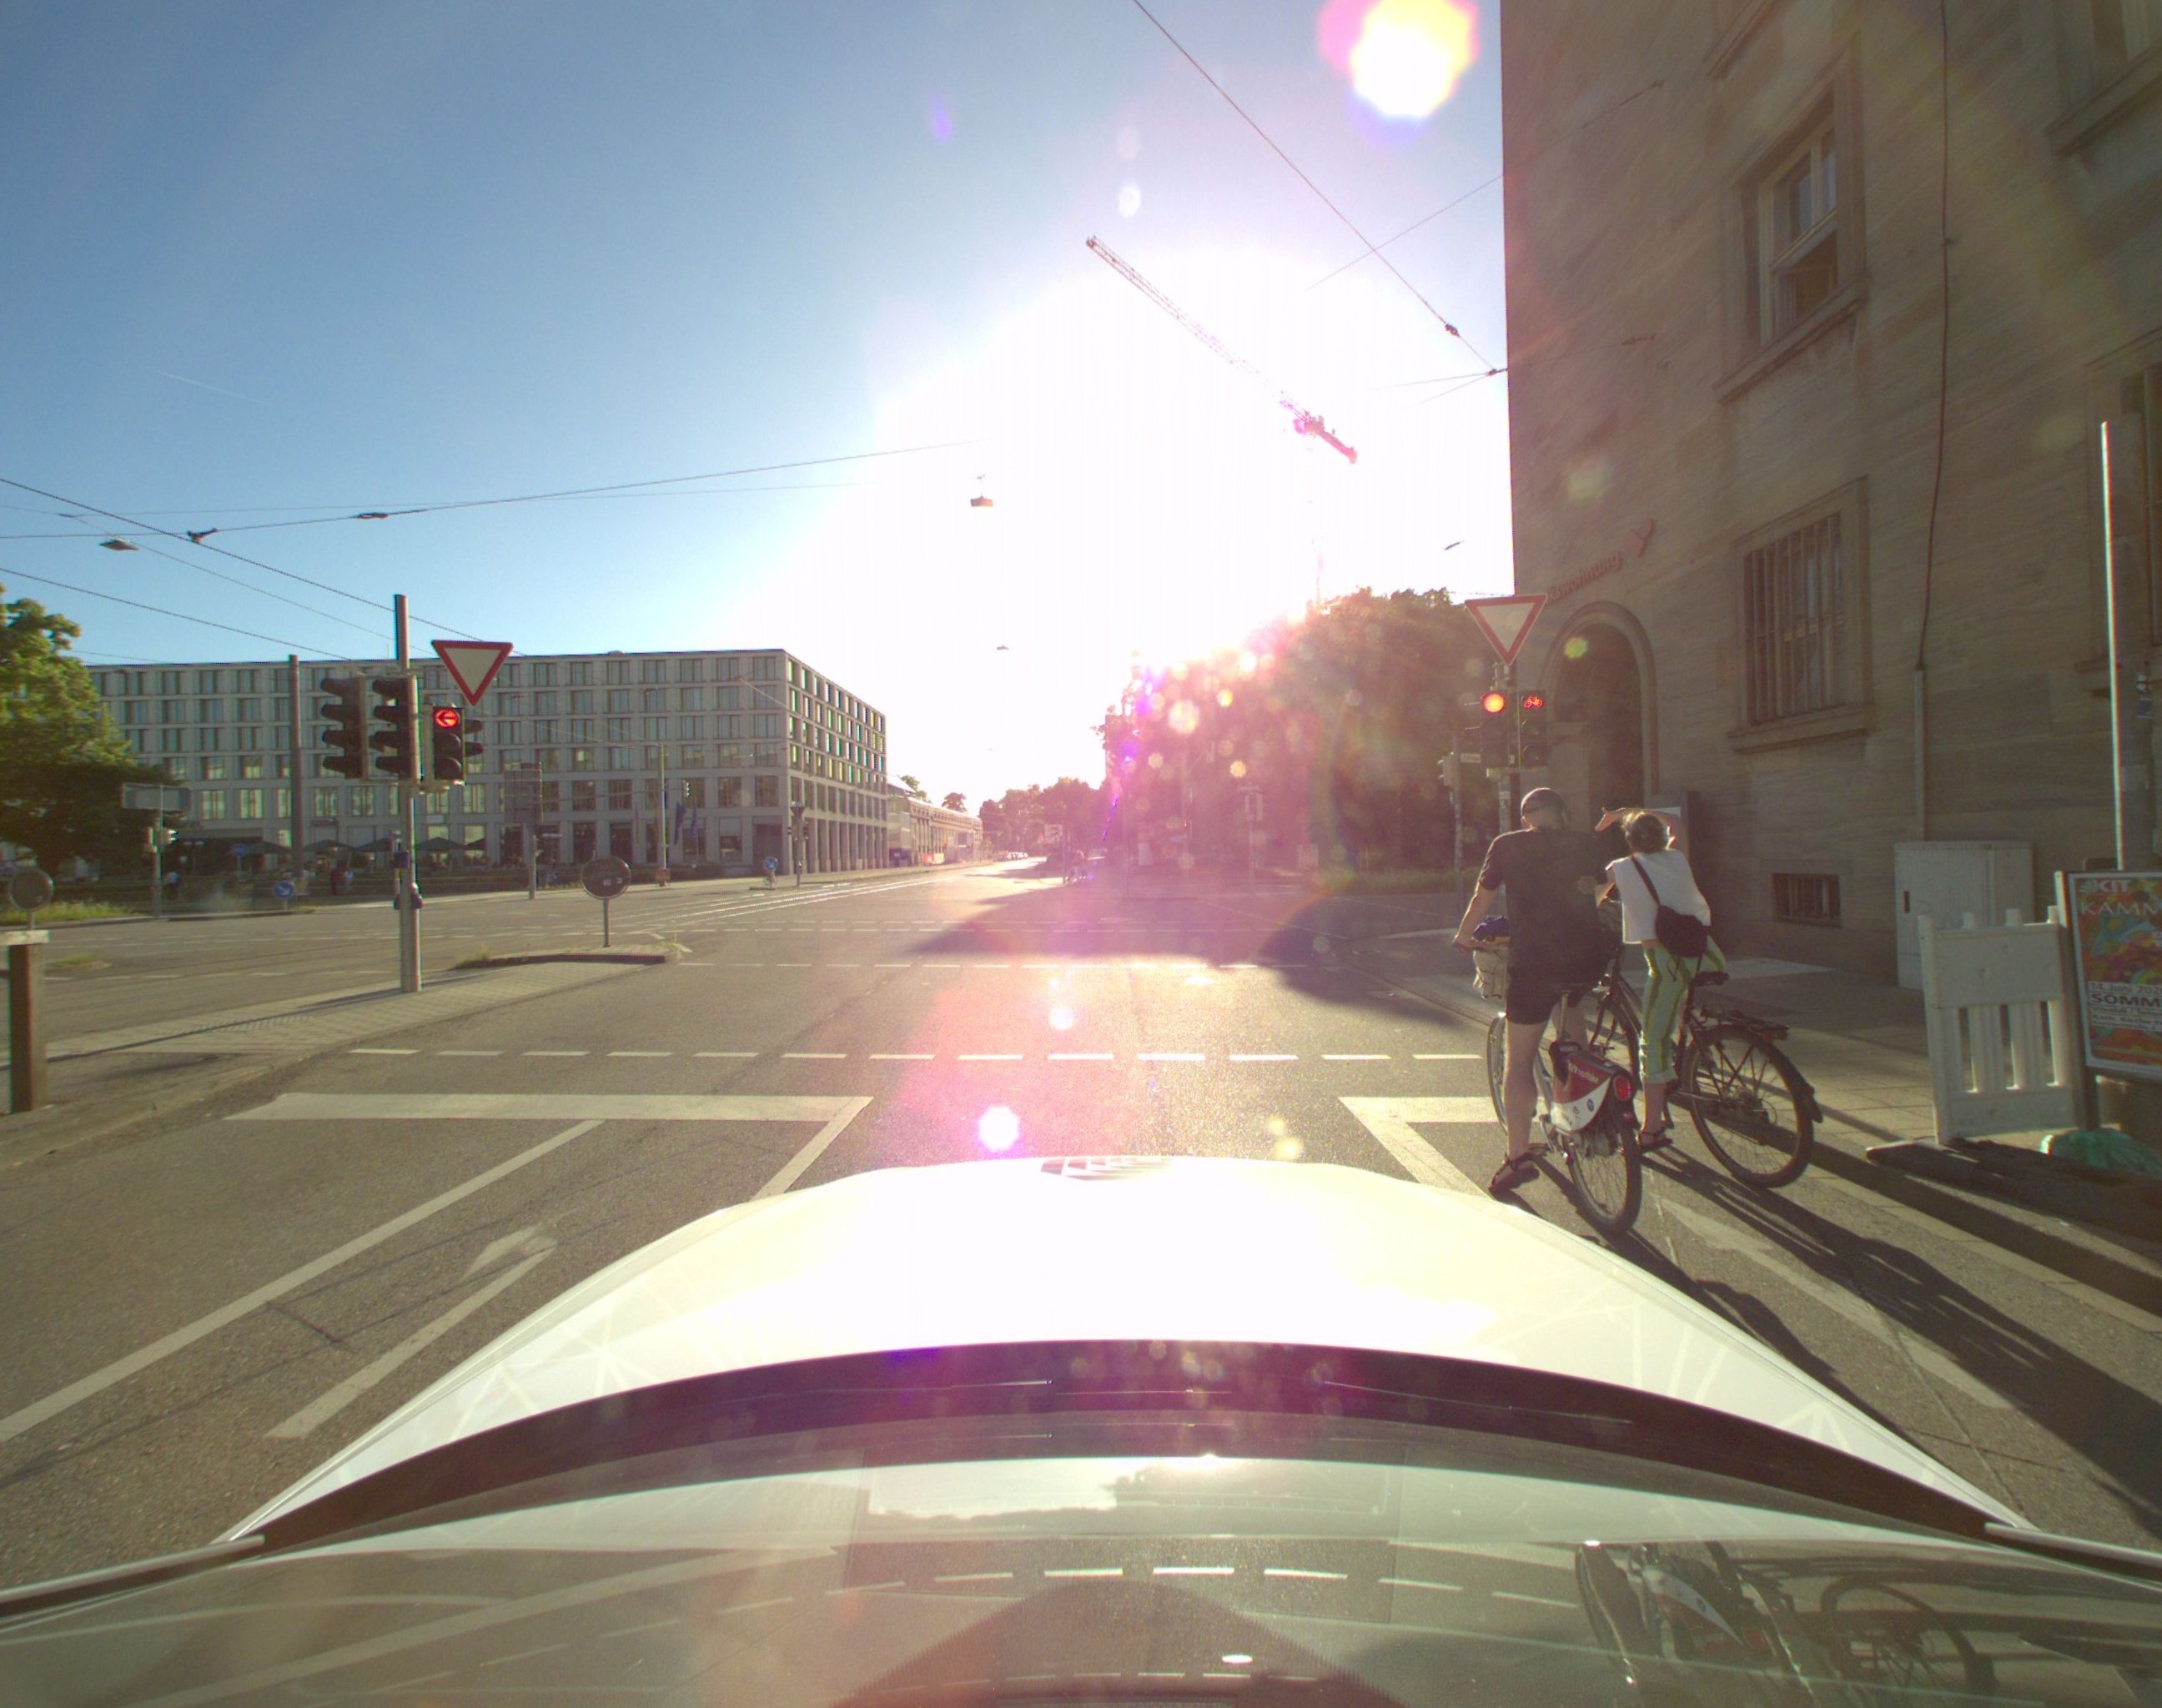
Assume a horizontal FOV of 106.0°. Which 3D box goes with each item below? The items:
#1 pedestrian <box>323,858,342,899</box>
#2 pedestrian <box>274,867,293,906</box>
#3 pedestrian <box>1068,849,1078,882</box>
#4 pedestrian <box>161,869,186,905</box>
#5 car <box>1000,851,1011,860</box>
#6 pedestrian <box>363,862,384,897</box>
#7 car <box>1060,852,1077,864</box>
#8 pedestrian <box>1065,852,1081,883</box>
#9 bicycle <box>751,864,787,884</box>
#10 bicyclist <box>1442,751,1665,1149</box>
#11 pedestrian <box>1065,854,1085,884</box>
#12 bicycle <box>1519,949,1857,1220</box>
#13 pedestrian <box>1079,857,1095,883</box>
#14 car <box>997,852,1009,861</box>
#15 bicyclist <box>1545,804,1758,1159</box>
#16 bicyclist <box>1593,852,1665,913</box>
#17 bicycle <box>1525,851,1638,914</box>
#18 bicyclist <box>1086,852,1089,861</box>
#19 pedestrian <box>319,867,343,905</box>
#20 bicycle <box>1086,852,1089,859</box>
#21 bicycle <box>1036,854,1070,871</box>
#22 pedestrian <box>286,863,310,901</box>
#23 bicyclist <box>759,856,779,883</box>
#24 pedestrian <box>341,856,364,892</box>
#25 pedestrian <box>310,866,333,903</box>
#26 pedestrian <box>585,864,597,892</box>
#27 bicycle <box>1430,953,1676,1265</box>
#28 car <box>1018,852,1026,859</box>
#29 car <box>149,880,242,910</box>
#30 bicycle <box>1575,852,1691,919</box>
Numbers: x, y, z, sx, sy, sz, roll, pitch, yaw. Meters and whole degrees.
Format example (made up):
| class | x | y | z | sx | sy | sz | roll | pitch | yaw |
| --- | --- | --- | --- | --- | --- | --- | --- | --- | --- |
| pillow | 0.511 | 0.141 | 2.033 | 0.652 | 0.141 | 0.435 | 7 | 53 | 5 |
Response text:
| class | x | y | z | sx | sy | sz | roll | pitch | yaw |
| --- | --- | --- | --- | --- | --- | --- | --- | --- | --- |
| pedestrian | -42.424 | 1.377 | 46.167 | 0.568 | 2.280 | 0.532 | -2 | 0 | -5 |
| pedestrian | -42.854 | 1.741 | 43.756 | 0.490 | 2.013 | 0.493 | -2 | 0 | 14 |
| pedestrian | -0.424 | 0.608 | 44.764 | 0.358 | 1.804 | 0.508 | -2 | 0 | 14 |
| pedestrian | -49.262 | 1.800 | 44.223 | 0.557 | 1.903 | 0.684 | -2 | 0 | 10 |
| car | -14.862 | 0.345 | 160.719 | 1.724 | 1.653 | 4.002 | -2 | 0 | 2 |
| pedestrian | -40.990 | 1.475 | 47.189 | 0.528 | 2.013 | 0.800 | -2 | 0 | -5 |
| car | -1.384 | 0.439 | 92.810 | 1.814 | 1.279 | 3.999 | -2 | 0 | 0 |
| pedestrian | -0.444 | 0.739 | 43.993 | 0.792 | 1.639 | 0.534 | -2 | 0 | 4 |
| bicycle | -19.307 | 1.202 | 50.435 | 0.872 | 1.121 | 3.015 | -2 | 0 | 3 |
| bicyclist | 2.160 | 0.413 | 3.812 | 0.666 | 1.678 | 0.658 | -2 | 0 | 9 |
| pedestrian | -0.333 | 0.800 | 43.499 | 0.980 | 1.587 | 0.661 | -2 | -1 | 3 |
| bicycle | 3.021 | 1.063 | 4.327 | 0.425 | 0.876 | 1.953 | -2 | 0 | 4 |
| pedestrian | 0.321 | 0.852 | 43.454 | 0.749 | 1.332 | 0.743 | -2 | 0 | 3 |
| car | -15.037 | 0.496 | 156.653 | 1.724 | 1.653 | 4.002 | -2 | 0 | 2 |
| bicyclist | 2.955 | 0.607 | 4.303 | 0.519 | 1.679 | 0.860 | -2 | 0 | 5 |
| bicyclist | 11.328 | 0.573 | 16.852 | 0.922 | 1.218 | 0.796 | -2 | 0 | -1 |
| bicycle | 10.999 | 0.618 | 17.933 | 1.979 | 1.291 | 0.792 | -2 | 0 | 0 |
| bicyclist | 0.807 | 0.300 | 98.456 | 0.317 | 1.127 | 0.291 | -2 | 0 | 1 |
| pedestrian | -41.409 | 1.760 | 44.949 | 0.648 | 2.069 | 0.649 | -2 | -4 | -5 |
| bicycle | 0.828 | 0.162 | 98.658 | 0.323 | 0.868 | 1.484 | -2 | 0 | 2 |
| bicycle | -2.322 | 0.728 | 67.362 | 2.728 | 1.367 | 0.633 | -1 | -1 | 12 |
| pedestrian | -42.908 | 1.536 | 44.647 | 0.528 | 2.013 | 0.800 | -2 | 0 | -5 |
| bicyclist | -19.330 | 0.971 | 50.483 | 0.872 | 1.641 | 0.822 | -2 | 0 | 3 |
| pedestrian | -41.063 | 1.133 | 45.915 | 0.528 | 2.013 | 0.800 | -2 | 0 | -5 |
| pedestrian | -42.974 | 1.709 | 46.062 | 0.528 | 2.013 | 0.800 | -2 | 0 | -5 |
| pedestrian | -35.414 | 1.751 | 58.841 | 0.606 | 2.013 | 0.391 | -2 | 0 | 2 |
| bicycle | 2.164 | 1.062 | 3.994 | 0.387 | 0.905 | 1.956 | -2 | 0 | 10 |
| car | -14.044 | 0.325 | 195.007 | 1.478 | 1.750 | 4.002 | -2 | 0 | 2 |
| car | -46.553 | 2.147 | 42.875 | 3.176 | 1.438 | 1.470 | -2 | 0 | -2 |
| bicycle | 11.391 | 0.634 | 16.848 | 1.846 | 1.291 | 0.791 | -2 | 0 | -2 |
